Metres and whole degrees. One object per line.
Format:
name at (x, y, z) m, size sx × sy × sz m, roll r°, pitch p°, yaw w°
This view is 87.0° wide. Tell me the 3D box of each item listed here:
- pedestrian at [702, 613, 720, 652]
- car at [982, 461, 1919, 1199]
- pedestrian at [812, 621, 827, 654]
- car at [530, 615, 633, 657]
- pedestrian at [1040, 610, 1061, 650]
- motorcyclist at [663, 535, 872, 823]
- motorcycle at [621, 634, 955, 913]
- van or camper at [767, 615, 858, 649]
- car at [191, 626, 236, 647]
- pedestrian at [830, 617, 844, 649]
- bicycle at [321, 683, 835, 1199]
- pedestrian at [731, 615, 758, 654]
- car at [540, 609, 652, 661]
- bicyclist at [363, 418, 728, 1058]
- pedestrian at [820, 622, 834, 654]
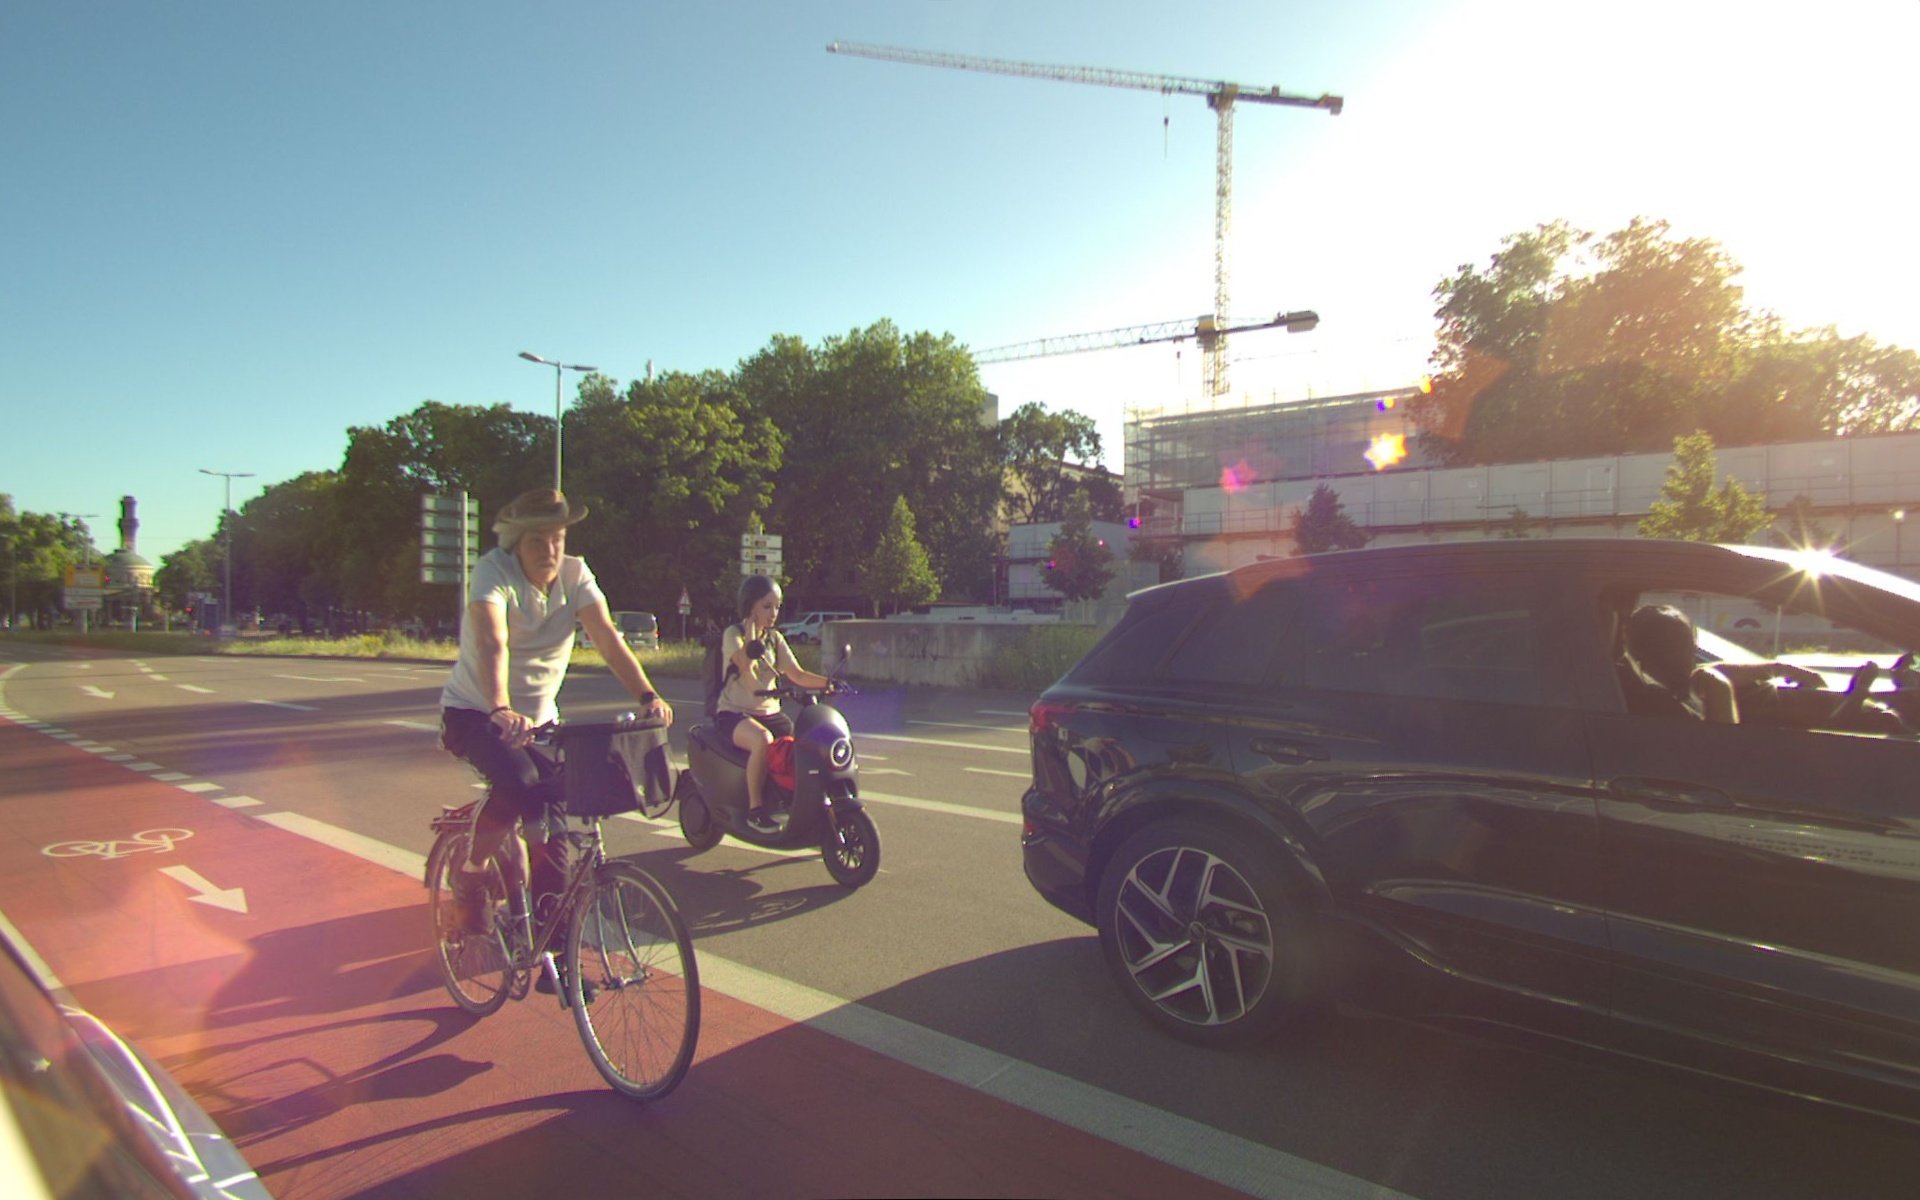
pedestrian at (-13.158, 1.689, 53.524) m, size 0.827 × 2.029 × 0.958 m, roll -1°, pitch 0°, yaw -7°
car at (2.560, 0.560, 3.183) m, size 4.660 × 1.720 × 2.144 m, roll -1°, pitch -1°, yaw 39°
pedestrian at (-6.519, 1.719, 46.959) m, size 0.494 × 1.522 × 0.492 m, roll -1°, pitch -2°, yaw 41°
car at (-13.280, 1.230, 35.402) m, size 3.941 × 1.387 × 1.705 m, roll -1°, pitch -2°, yaw 41°
pedestrian at (3.713, 1.212, 41.540) m, size 0.597 × 1.614 × 0.580 m, roll -1°, pitch 0°, yaw 38°
motorcyclist at (-1.096, 0.417, 5.784) m, size 0.877 × 1.475 × 0.813 m, roll -1°, pitch -2°, yaw 41°
motorcycle at (-1.021, 0.844, 5.702) m, size 1.943 × 1.290 × 0.817 m, roll -1°, pitch -2°, yaw 41°
van or camper at (-8.962, 1.933, 61.893) m, size 1.951 × 1.960 × 5.425 m, roll -2°, pitch -2°, yaw 44°
car at (-54.682, 2.669, 74.085) m, size 3.979 × 1.492 × 1.857 m, roll -1°, pitch -2°, yaw 41°
pedestrian at (-5.925, 1.606, 48.806) m, size 0.494 × 1.522 × 0.492 m, roll -1°, pitch -2°, yaw 41°
bicycle at (-1.303, 0.895, 3.229) m, size 1.890 × 1.156 × 0.731 m, roll -1°, pitch -2°, yaw 41°
pedestrian at (-11.146, 1.755, 52.328) m, size 0.815 × 1.978 × 1.111 m, roll -1°, pitch 0°, yaw 41°
car at (-14.395, 1.346, 39.915) m, size 4.925 × 1.937 × 1.863 m, roll -1°, pitch -2°, yaw 39°
bicyclist at (-1.344, 0.377, 3.299) m, size 0.851 × 1.713 × 0.797 m, roll -1°, pitch -2°, yaw 41°
pedestrian at (-6.343, 1.825, 48.248) m, size 0.494 × 1.522 × 0.492 m, roll -1°, pitch -2°, yaw 41°
